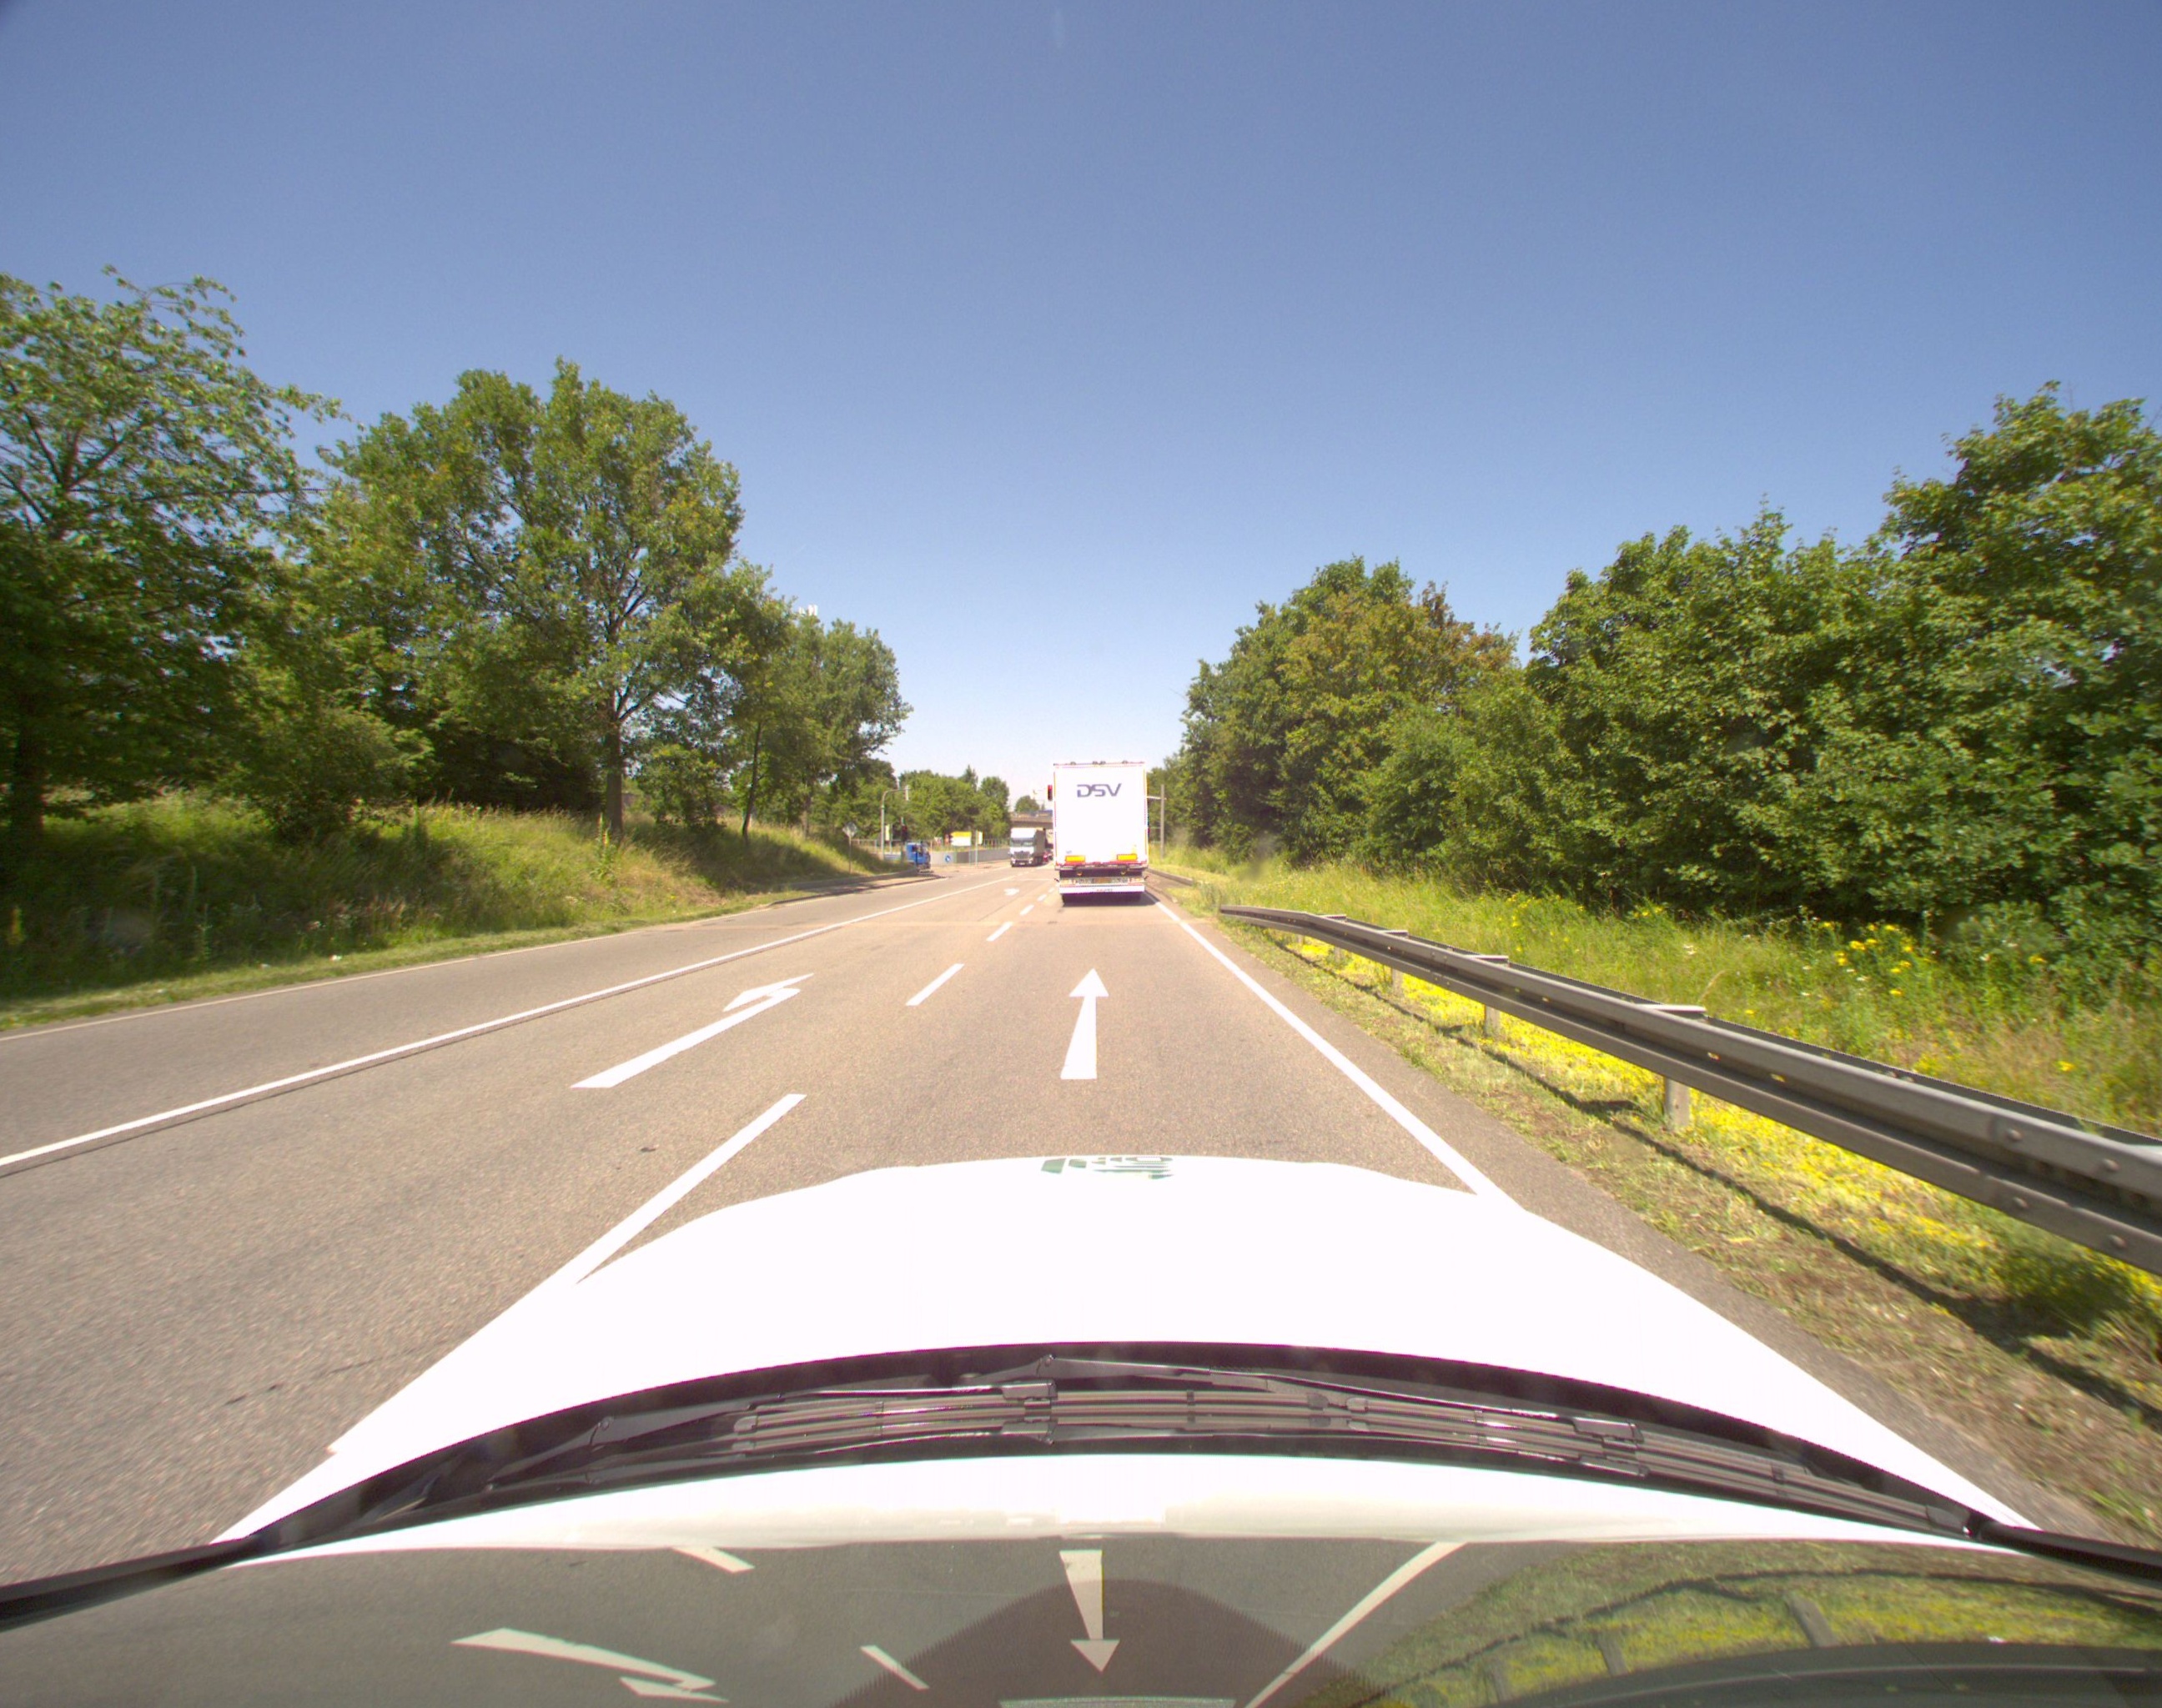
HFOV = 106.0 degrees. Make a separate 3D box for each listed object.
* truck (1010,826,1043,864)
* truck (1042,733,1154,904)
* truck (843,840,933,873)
[{"bbox_3d":[-5.870,-0.979,89.075,2.345,3.749,12.629,-1,1,1],"label":"truck"},{"bbox_3d":[0.527,-0.981,26.877,2.940,4.568,9.863,-1,0,1],"label":"truck"},{"bbox_3d":[-15.324,0.195,64.916,6.387,2.499,2.716,0,0,1],"label":"truck"}]
